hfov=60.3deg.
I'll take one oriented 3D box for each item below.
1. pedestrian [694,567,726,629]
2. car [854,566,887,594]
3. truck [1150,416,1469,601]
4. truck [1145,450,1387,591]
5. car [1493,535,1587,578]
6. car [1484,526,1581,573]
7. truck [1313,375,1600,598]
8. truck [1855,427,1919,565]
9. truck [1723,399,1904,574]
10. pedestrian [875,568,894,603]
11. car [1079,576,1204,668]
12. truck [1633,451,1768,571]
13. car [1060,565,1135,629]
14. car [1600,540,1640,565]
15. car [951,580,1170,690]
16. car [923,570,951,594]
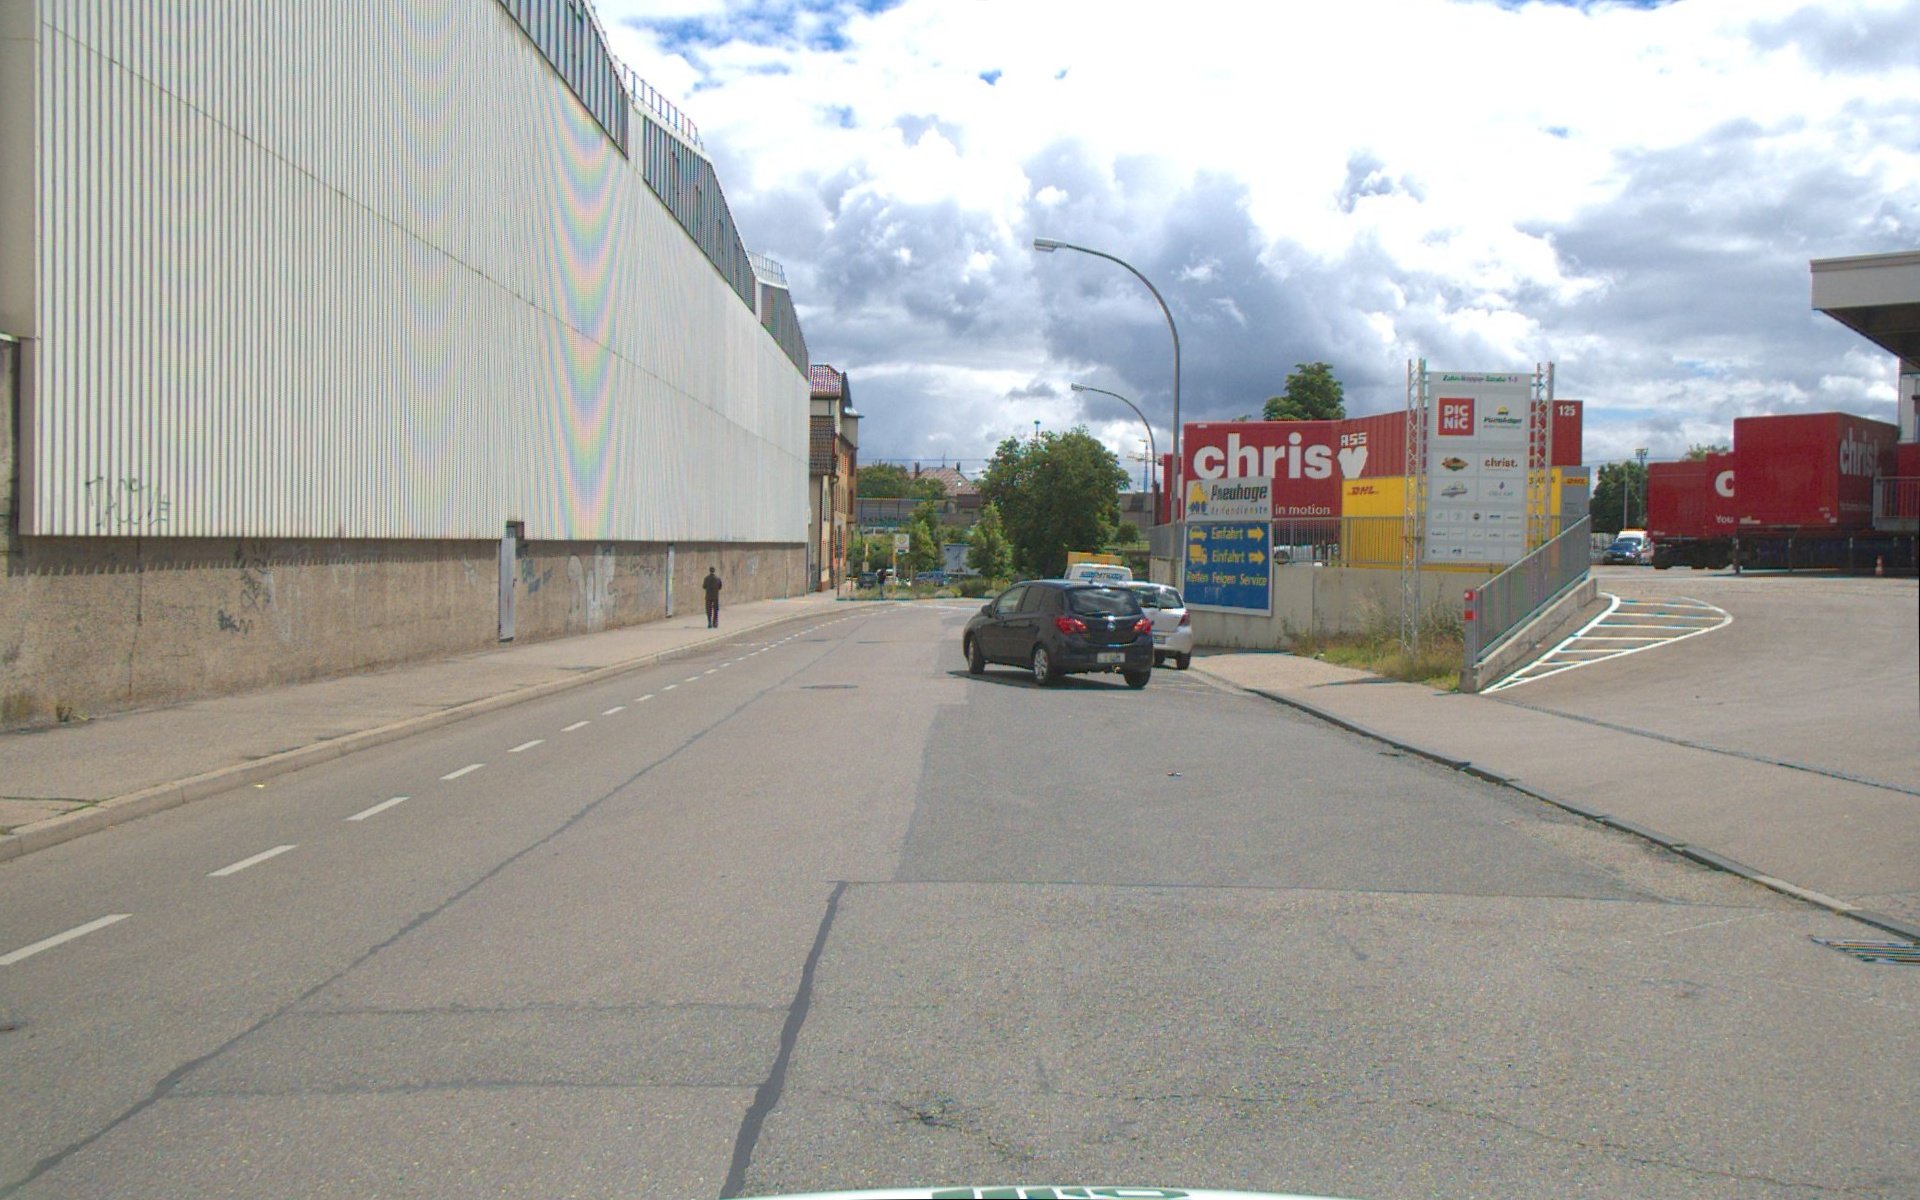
[{"bbox_3d":[-6.766,-0.049,44.755,0.698,1.666,0.777,1,-1,1],"label":"pedestrian"},{"bbox_3d":[-5.314,-1.200,98.477,1.815,1.512,3.999,1,-1,-1],"label":"car"},{"bbox_3d":[9.615,-2.395,45.585,8.275,4.753,2.582,0,-1,21],"label":"truck"},{"bbox_3d":[10.824,-2.774,58.818,8.269,4.753,2.584,0,-1,10],"label":"truck"},{"bbox_3d":[36.190,-2.694,103.215,5.523,2.586,2.000,0,-1,21],"label":"car"},{"bbox_3d":[34.805,-3.065,100.509,5.523,2.724,2.000,0,-1,21],"label":"car"},{"bbox_3d":[11.401,-2.397,38.941,2.534,4.527,7.823,1,-1,-17],"label":"truck"},{"bbox_3d":[33.767,-3.497,57.833,2.943,4.130,8.436,0,-2,39],"label":"truck"},{"bbox_3d":[24.075,-2.955,46.391,2.943,4.130,8.436,0,-2,39],"label":"truck"},{"bbox_3d":[-3.736,-0.722,81.942,0.835,1.692,0.860,1,-1,4],"label":"pedestrian"},{"bbox_3d":[3.400,0.373,31.634,1.668,1.554,3.735,3,1,-4],"label":"car"},{"bbox_3d":[29.658,-3.419,66.050,2.943,4.130,8.436,0,-2,39],"label":"truck"},{"bbox_3d":[3.499,-0.092,42.466,1.666,1.554,3.739,1,1,1],"label":"car"},{"bbox_3d":[40.613,-2.929,101.790,1.663,1.480,4.304,0,1,30],"label":"car"},{"bbox_3d":[1.392,0.460,24.452,1.679,1.472,3.765,1,1,-24],"label":"car"},{"bbox_3d":[-1.551,-1.183,110.006,1.815,1.512,3.999,1,-1,-1],"label":"car"}]
